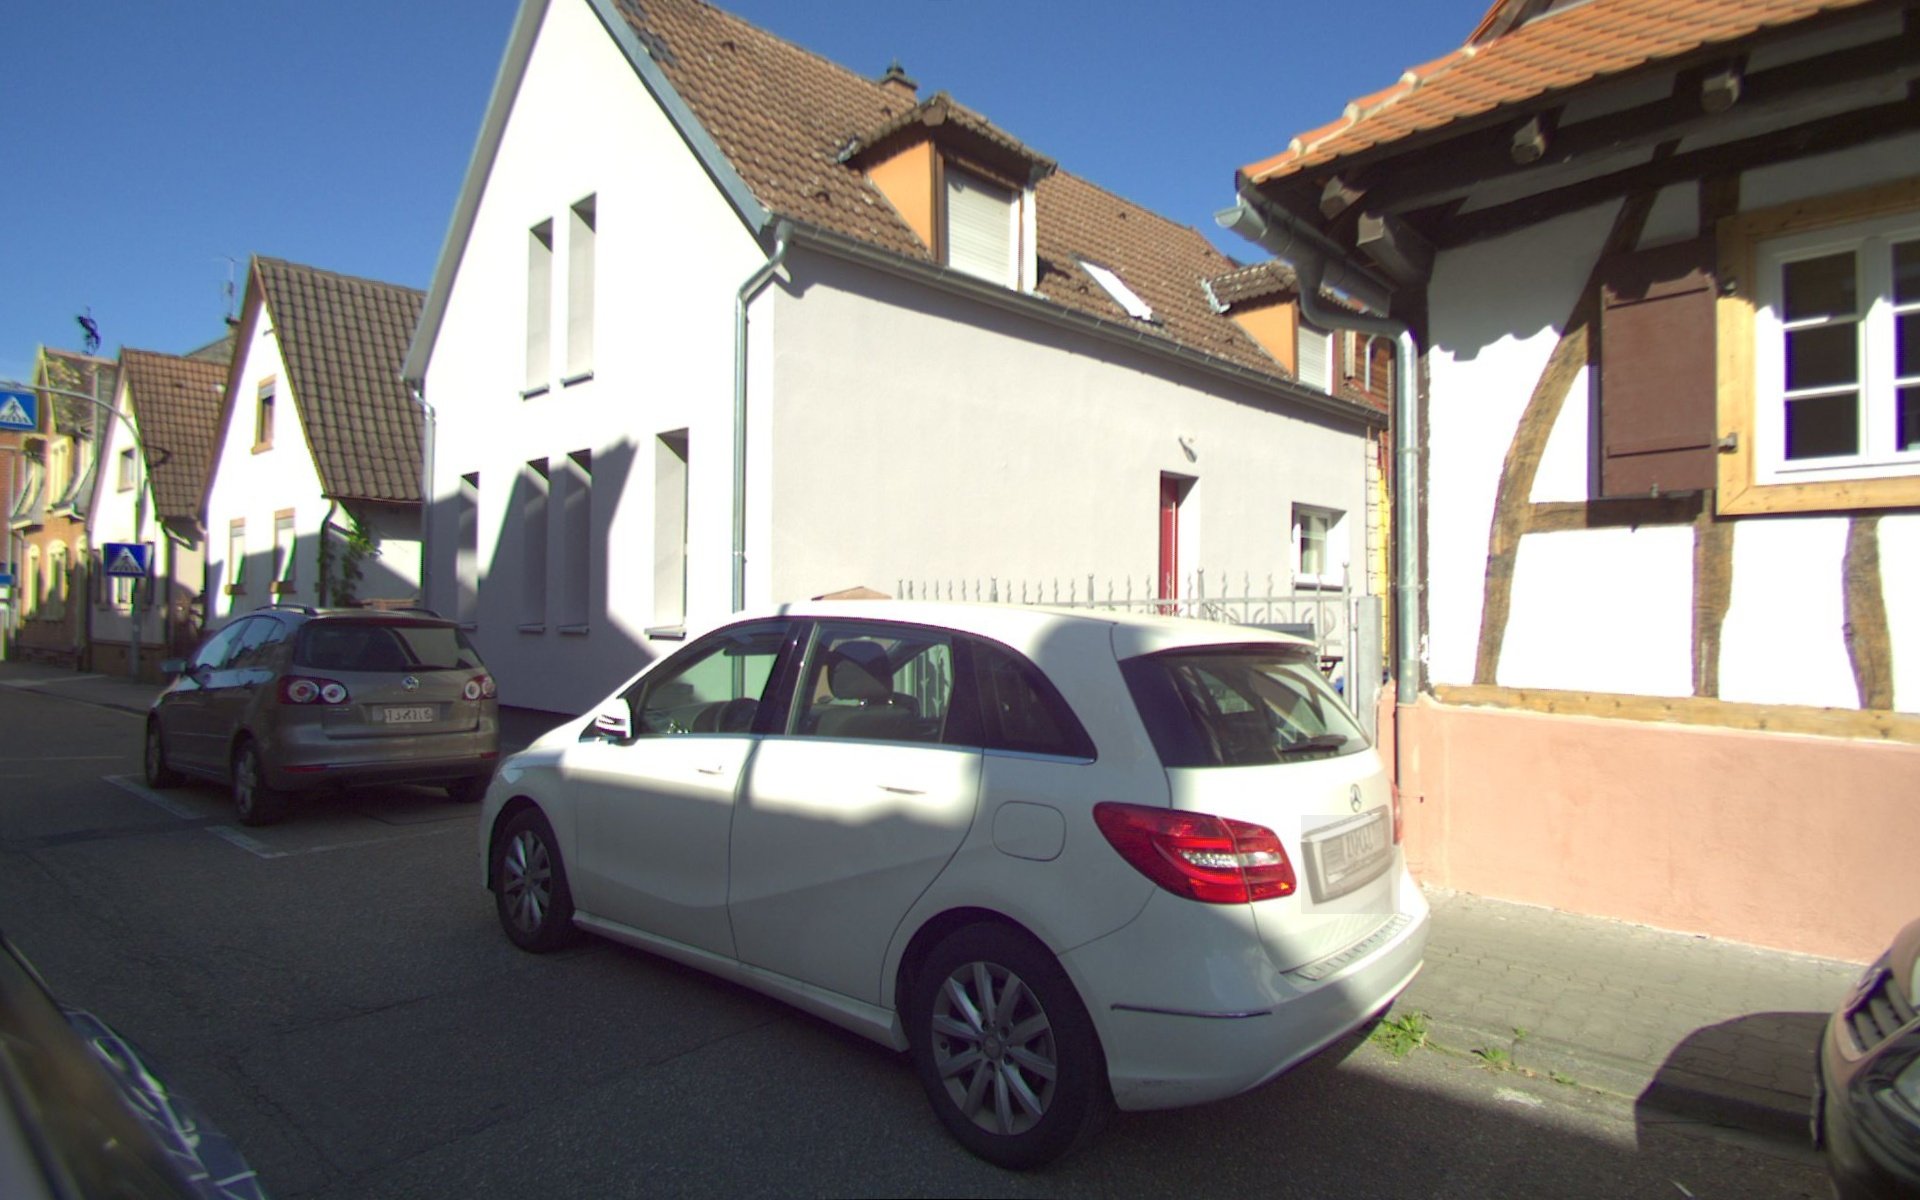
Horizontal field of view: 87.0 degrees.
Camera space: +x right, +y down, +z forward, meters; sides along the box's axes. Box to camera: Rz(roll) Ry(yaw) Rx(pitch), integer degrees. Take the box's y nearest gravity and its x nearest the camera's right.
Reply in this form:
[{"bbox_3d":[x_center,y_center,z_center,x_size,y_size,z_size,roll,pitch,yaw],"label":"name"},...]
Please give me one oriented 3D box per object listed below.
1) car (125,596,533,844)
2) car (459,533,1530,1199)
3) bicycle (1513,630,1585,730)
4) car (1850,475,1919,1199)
[{"bbox_3d":[-5.481,0.816,8.603,3.996,1.626,1.725,0,-2,39],"label":"car"},{"bbox_3d":[-0.231,0.687,4.109,4.167,1.578,1.797,0,-2,42],"label":"car"},{"bbox_3d":[6.681,0.866,11.450,0.533,0.962,1.704,0,1,36],"label":"bicycle"},{"bbox_3d":[3.541,0.625,0.706,4.360,1.617,1.765,-1,-2,42],"label":"car"}]
